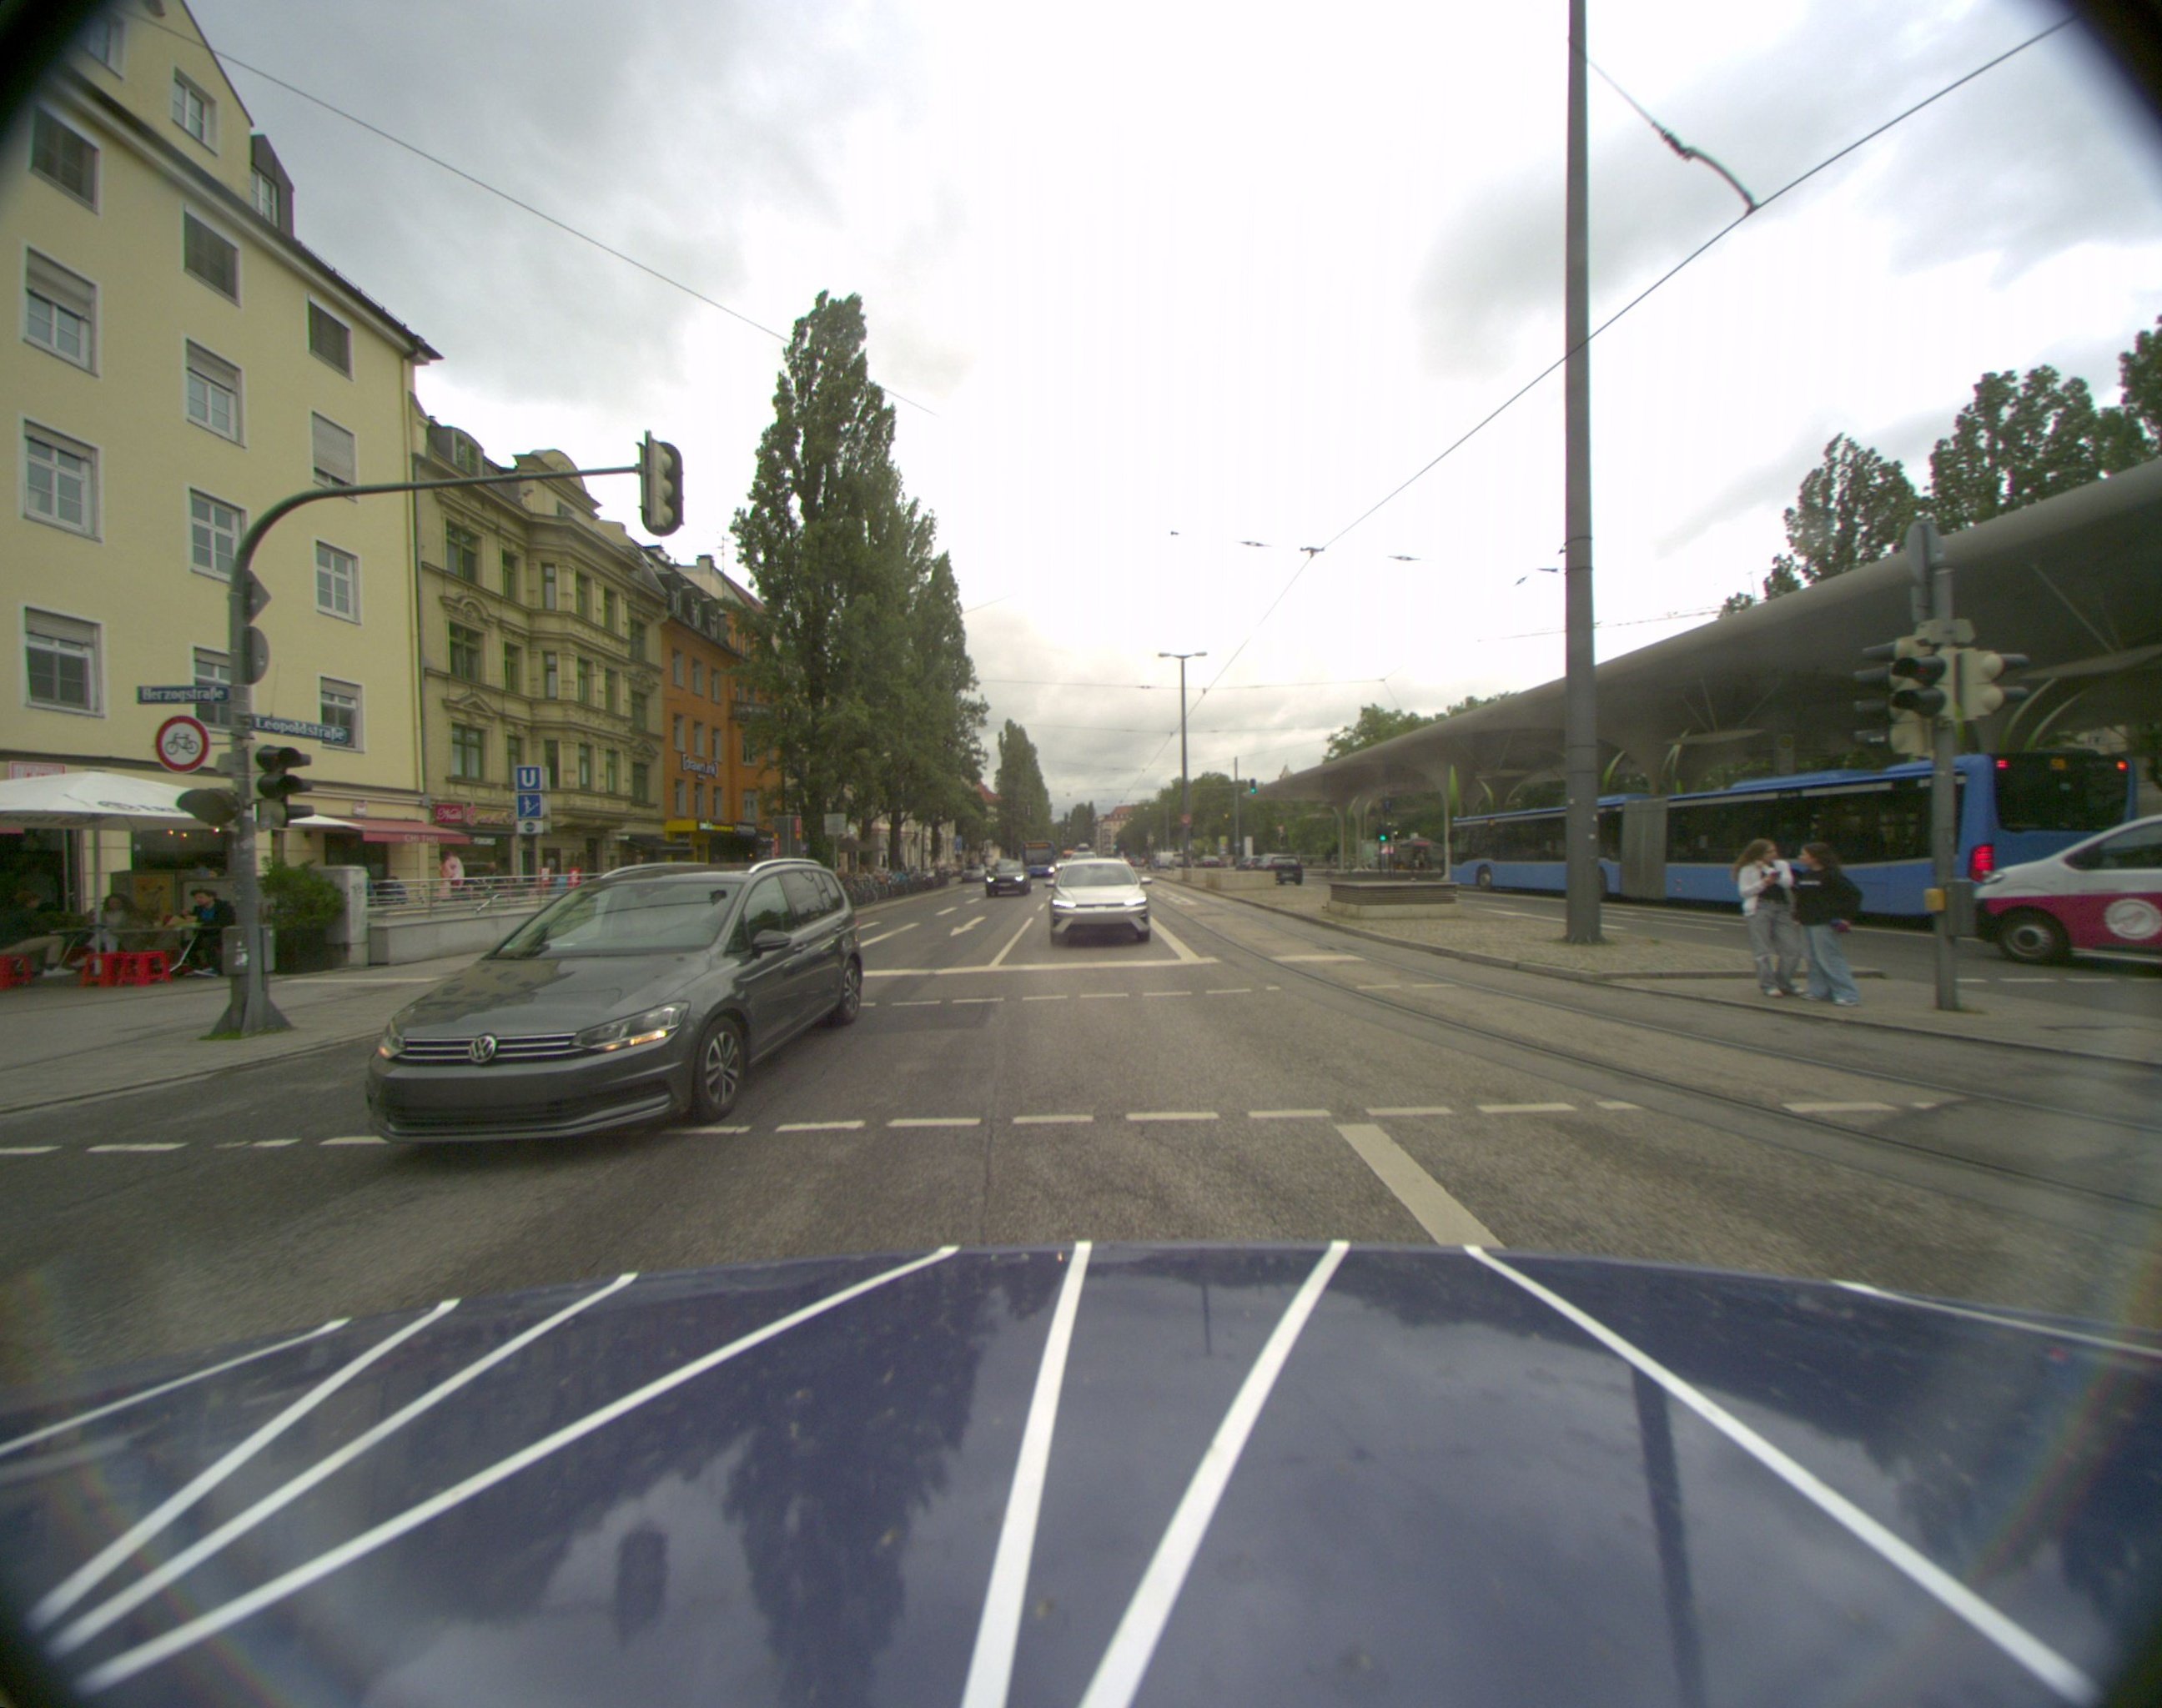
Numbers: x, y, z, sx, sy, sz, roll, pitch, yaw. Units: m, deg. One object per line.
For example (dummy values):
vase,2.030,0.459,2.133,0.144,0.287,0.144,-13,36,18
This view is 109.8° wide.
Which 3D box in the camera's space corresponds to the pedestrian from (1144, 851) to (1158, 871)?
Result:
pedestrian,6.281,0.608,68.228,0.862,1.801,0.896,-3,1,-21

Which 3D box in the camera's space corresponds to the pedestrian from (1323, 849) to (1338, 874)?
pedestrian,18.304,0.553,55.744,0.667,1.828,0.808,-1,1,-32

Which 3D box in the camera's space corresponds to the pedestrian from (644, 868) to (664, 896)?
pedestrian,-19.620,1.280,34.927,0.584,1.273,0.583,-1,1,0

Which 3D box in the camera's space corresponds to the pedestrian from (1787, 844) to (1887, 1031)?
pedestrian,6.879,0.720,6.922,0.488,1.609,0.556,-1,1,-34

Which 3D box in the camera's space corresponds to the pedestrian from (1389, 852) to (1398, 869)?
pedestrian,29.704,0.575,72.222,0.739,1.591,0.798,-1,1,15

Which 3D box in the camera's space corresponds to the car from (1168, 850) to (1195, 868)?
car,11.526,0.547,87.501,2.181,1.876,6.155,-1,0,-1

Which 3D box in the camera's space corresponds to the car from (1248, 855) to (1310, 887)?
car,9.403,0.753,36.419,1.848,1.408,4.034,-1,0,-1

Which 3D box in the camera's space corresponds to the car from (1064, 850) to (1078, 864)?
car,-2.062,0.551,158.907,2.806,2.835,5.114,-1,0,0

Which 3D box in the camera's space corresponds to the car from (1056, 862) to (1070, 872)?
car,-2.386,1.718,100.634,1.704,1.360,3.632,1,-1,0

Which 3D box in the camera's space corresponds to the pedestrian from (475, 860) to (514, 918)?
pedestrian,-17.835,1.046,23.113,0.602,1.729,0.666,-1,1,1

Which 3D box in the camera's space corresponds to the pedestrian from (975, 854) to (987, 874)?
pedestrian,-8.642,0.863,65.580,0.758,1.628,0.699,-1,0,-43

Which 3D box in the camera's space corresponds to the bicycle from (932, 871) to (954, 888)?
bicycle,-7.965,1.474,43.828,0.376,0.990,1.837,-1,-1,-39

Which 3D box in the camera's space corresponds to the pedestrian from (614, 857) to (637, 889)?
pedestrian,-20.811,0.859,34.719,0.626,1.466,0.583,-1,1,3

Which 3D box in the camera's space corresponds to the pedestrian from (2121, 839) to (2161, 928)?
pedestrian,19.109,0.510,13.480,0.564,1.563,0.533,-1,0,1

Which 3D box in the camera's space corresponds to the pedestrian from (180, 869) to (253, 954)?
pedestrian,-16.935,1.109,14.897,0.616,1.623,0.677,-1,1,1

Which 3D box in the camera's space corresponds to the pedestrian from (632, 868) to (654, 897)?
pedestrian,-19.645,1.282,34.089,0.584,1.273,0.583,-1,1,0

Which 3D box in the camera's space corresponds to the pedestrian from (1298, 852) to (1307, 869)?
pedestrian,21.573,0.619,74.130,0.735,1.706,0.861,-1,1,11

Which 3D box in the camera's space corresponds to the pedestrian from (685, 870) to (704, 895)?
pedestrian,-19.753,1.446,38.807,0.624,1.211,0.583,-1,1,0

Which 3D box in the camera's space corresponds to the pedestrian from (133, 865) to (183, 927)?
pedestrian,-20.929,0.943,17.227,0.510,1.389,0.489,-1,1,6

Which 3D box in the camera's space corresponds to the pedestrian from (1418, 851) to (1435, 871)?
pedestrian,30.658,0.620,67.390,1.031,1.752,0.957,-1,0,1

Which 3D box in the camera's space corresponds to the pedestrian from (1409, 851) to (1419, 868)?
pedestrian,31.333,0.482,71.524,0.739,1.591,0.798,-1,1,15

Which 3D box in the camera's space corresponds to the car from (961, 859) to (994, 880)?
car,-7.876,1.139,58.120,1.999,1.432,4.528,-1,0,-2

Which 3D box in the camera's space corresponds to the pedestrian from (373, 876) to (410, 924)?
pedestrian,-19.103,1.267,21.053,0.496,1.282,0.552,-1,1,1

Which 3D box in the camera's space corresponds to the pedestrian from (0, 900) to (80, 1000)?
pedestrian,-14.884,1.324,10.621,0.679,1.304,0.796,-1,1,1

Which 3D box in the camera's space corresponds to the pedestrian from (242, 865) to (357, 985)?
pedestrian,-12.019,1.057,11.726,0.884,1.733,0.857,-1,1,-16

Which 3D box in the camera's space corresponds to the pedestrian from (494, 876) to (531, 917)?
pedestrian,-17.286,1.287,23.103,0.602,1.215,0.666,-1,1,1

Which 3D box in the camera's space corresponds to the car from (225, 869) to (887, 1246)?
car,-3.081,1.010,5.937,1.776,1.637,4.708,-2,0,1

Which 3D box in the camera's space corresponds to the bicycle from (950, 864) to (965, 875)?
bicycle,-12.363,1.554,76.132,0.445,1.017,1.842,-1,1,27

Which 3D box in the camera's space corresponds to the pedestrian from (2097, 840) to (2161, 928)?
pedestrian,18.380,0.515,13.287,0.614,1.496,0.471,-1,1,-1

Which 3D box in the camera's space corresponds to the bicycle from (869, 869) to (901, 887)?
bicycle,-12.240,1.482,47.468,1.892,1.048,0.458,-1,1,2

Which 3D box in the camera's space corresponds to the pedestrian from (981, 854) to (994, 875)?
pedestrian,-8.181,0.938,66.706,0.881,1.791,0.757,-2,0,11

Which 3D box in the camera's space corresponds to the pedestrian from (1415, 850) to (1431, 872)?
pedestrian,26.271,0.532,58.316,0.749,1.600,0.837,-1,1,-28

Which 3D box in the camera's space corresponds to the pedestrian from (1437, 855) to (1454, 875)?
pedestrian,23.008,0.672,48.030,0.811,1.223,1.272,-1,0,19

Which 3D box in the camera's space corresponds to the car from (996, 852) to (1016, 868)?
car,-7.968,0.621,80.831,1.737,1.651,4.502,-1,0,0

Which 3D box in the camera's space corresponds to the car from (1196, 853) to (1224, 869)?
car,11.858,0.599,70.124,1.677,1.370,4.612,-2,0,-1

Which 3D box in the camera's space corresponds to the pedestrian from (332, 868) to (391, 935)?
pedestrian,-18.201,1.191,19.233,0.712,1.623,0.786,-1,1,1

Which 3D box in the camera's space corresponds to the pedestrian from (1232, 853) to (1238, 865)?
pedestrian,19.289,0.600,95.216,0.632,1.549,0.589,0,0,-1

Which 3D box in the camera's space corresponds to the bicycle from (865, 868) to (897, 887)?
bicycle,-12.728,1.509,48.419,1.892,1.167,0.582,-1,1,2

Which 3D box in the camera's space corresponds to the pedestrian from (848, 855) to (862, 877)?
pedestrian,-17.921,0.941,60.281,0.748,1.704,1.017,-1,1,1

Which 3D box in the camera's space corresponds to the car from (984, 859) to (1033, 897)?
car,-3.202,1.034,34.304,1.780,1.495,3.970,-2,1,0

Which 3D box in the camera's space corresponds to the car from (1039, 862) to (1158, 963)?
car,0.345,0.932,14.286,1.812,1.496,4.953,-1,0,2

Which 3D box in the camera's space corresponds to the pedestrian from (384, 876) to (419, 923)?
pedestrian,-19.722,1.301,22.058,0.496,1.324,0.552,-1,1,1

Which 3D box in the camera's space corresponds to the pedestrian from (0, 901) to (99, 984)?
pedestrian,-16.080,1.356,11.829,0.627,1.196,0.700,-1,1,1

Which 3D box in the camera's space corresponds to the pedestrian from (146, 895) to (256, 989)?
pedestrian,-13.154,1.293,11.379,0.679,1.303,0.796,-1,1,1

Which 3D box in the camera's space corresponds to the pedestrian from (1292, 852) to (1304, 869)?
pedestrian,20.121,0.603,70.382,0.739,1.619,0.741,-1,1,-20

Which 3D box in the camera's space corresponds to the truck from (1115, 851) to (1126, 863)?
truck,10.050,0.730,193.962,2.572,3.069,7.690,1,0,0

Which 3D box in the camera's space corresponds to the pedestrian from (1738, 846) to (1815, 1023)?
pedestrian,6.640,0.733,7.254,0.520,1.609,0.465,0,1,44

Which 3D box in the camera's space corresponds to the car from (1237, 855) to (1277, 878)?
car,11.961,0.818,51.845,1.682,1.387,4.232,-1,0,-1

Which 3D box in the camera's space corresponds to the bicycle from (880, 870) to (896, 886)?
bicycle,-11.492,1.426,45.242,0.458,0.887,1.893,-1,0,-1

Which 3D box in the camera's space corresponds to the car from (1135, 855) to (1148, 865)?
car,10.844,1.075,136.347,1.868,1.629,4.677,1,0,-1

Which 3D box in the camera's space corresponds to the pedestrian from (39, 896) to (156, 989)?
pedestrian,-14.868,1.323,11.510,0.679,1.304,0.796,-1,1,1

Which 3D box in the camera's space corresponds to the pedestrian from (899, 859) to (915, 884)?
pedestrian,-10.940,1.106,47.715,0.761,1.553,0.763,-2,0,2

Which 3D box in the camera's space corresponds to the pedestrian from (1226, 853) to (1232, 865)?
pedestrian,18.489,0.644,95.047,0.632,1.549,0.589,0,0,-1

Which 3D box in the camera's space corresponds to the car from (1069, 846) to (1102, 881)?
car,0.298,0.566,49.322,1.998,2.100,3.999,-2,1,0

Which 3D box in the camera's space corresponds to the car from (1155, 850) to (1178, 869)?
car,8.787,0.556,78.644,1.791,1.844,4.217,0,0,-2

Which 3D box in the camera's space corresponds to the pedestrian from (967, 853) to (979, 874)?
pedestrian,-9.200,0.810,64.977,0.699,1.770,0.652,-2,0,34
